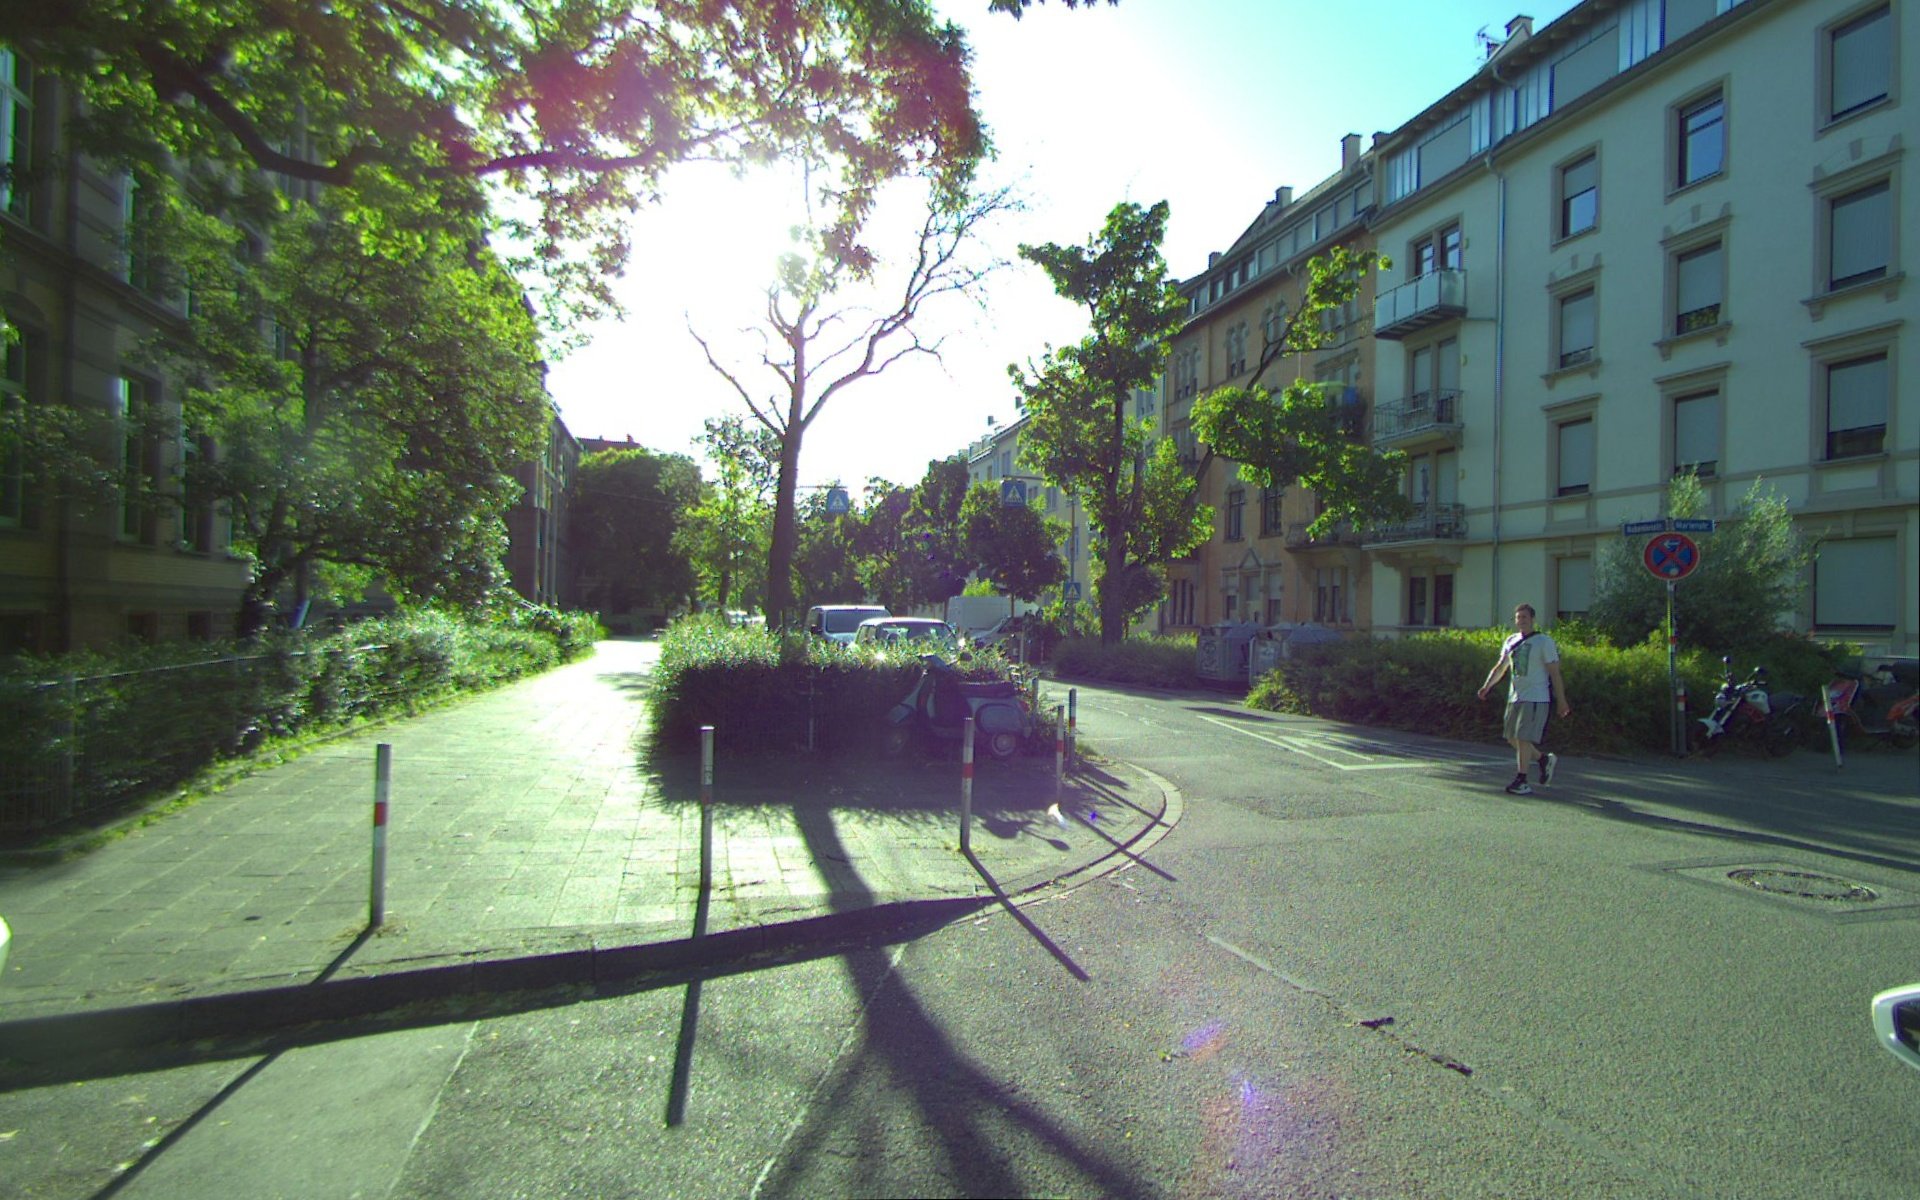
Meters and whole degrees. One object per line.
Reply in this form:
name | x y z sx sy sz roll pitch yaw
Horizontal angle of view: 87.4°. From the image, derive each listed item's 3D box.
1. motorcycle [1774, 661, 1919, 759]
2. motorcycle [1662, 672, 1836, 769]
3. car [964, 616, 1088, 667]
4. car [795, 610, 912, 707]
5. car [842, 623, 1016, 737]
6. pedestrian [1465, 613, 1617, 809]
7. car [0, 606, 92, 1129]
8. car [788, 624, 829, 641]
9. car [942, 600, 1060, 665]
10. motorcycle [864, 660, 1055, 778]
motorcycle | 11.994 1.454 13.318 2.005 1.212 0.613 2 -1 -5
motorcycle | 9.882 1.503 12.598 1.836 1.104 0.640 2 -1 -9
car | 2.741 1.748 42.193 4.827 2.040 1.994 1 -1 -15
car | -2.627 1.288 23.700 1.967 2.040 4.634 -1 -1 -16
car | -0.653 1.212 16.650 1.855 1.596 4.130 2 -1 -17
pedestrian | 5.542 1.019 9.606 0.990 1.769 0.802 1 -1 -18
car | -4.527 0.729 1.944 3.899 1.578 1.701 2 -4 -25
car | -17.670 3.792 117.173 4.381 1.828 1.989 1 -2 -24
car | 1.809 1.443 44.740 4.831 2.741 2.128 2 -1 -17
motorcycle | -0.001 1.195 10.279 1.864 1.116 0.543 1 -1 -16
